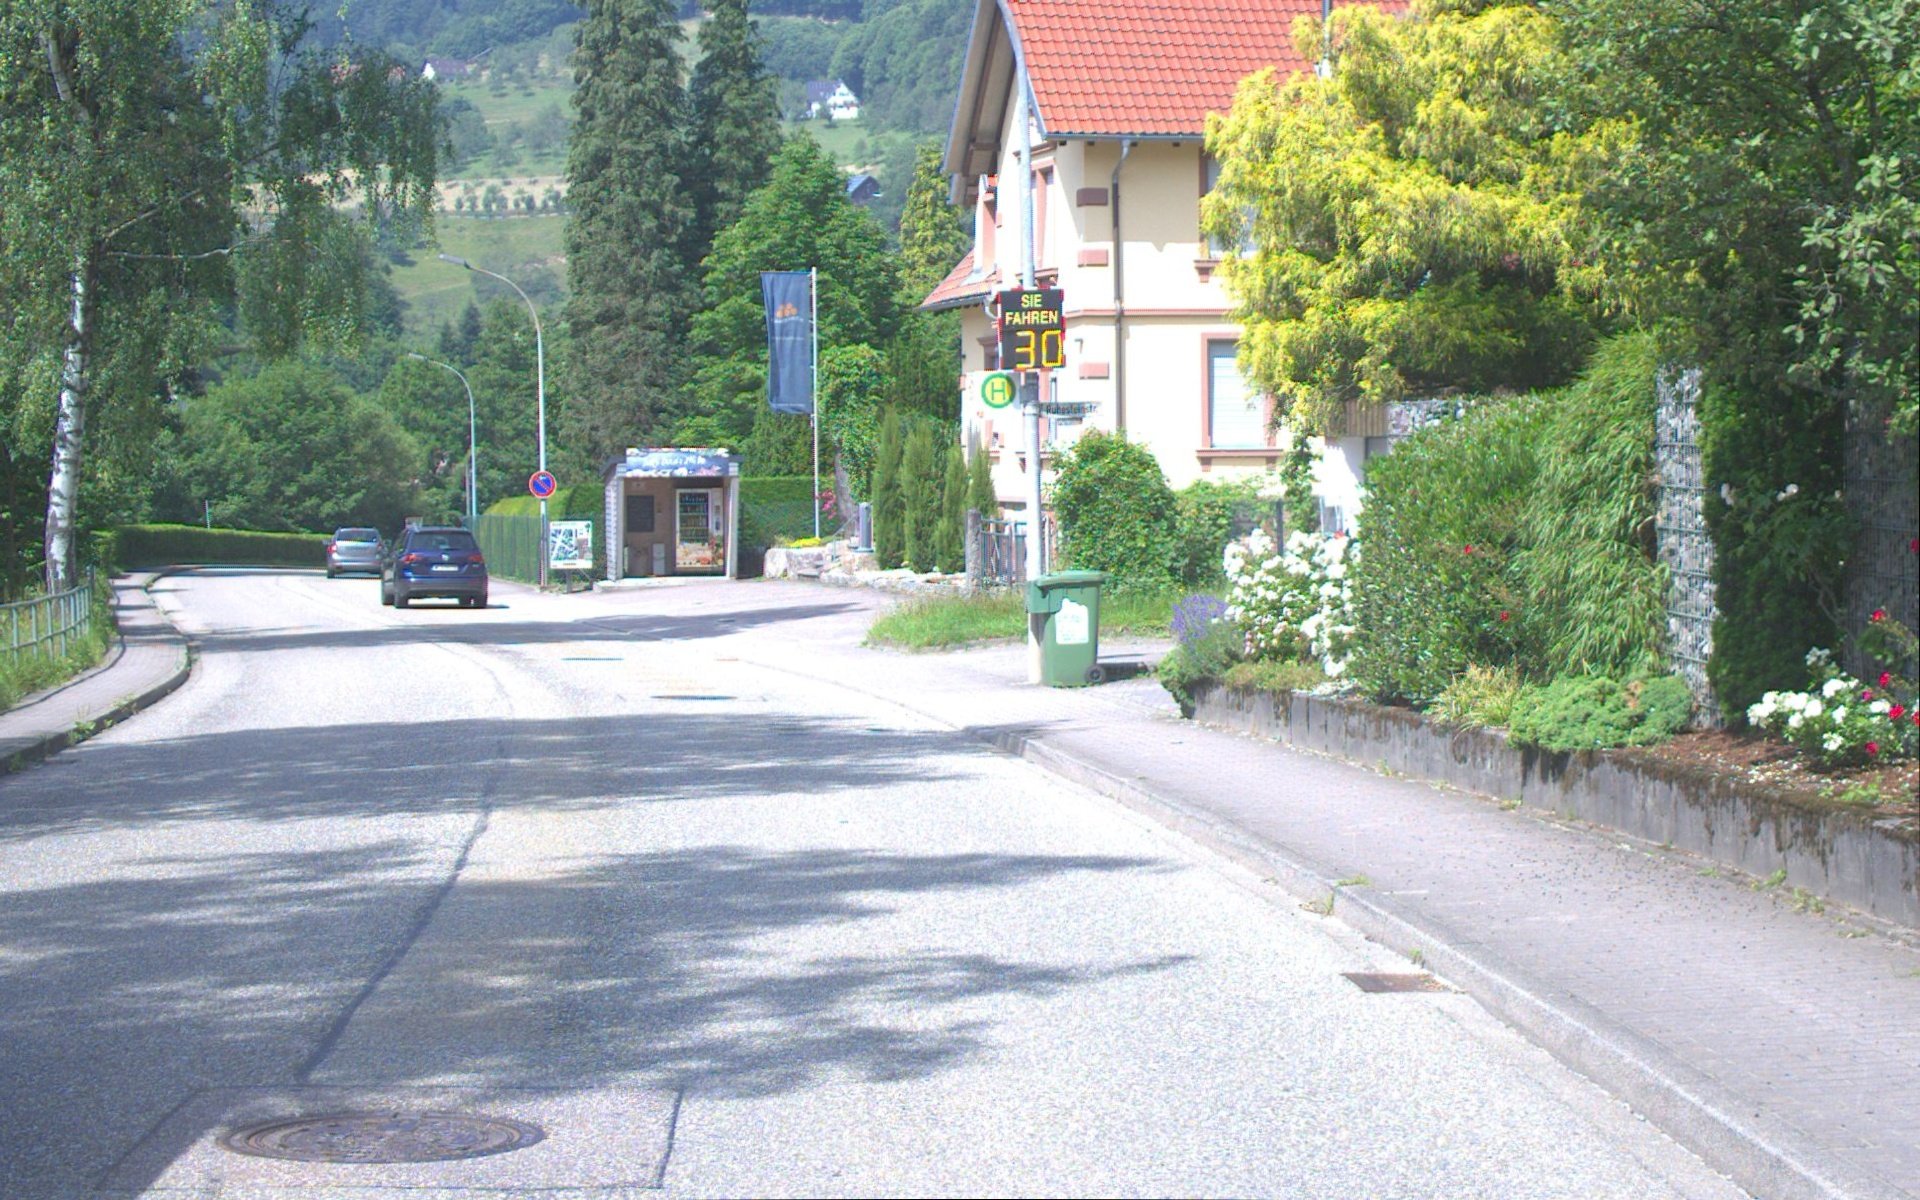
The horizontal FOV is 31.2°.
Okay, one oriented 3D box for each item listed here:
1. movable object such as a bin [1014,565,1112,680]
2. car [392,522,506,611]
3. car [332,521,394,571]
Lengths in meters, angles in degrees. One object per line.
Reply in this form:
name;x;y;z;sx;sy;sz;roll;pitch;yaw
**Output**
movable object such as a bin;0.959;0.208;32.129;0.809;1.039;0.579;-1;2;-8
car;-10.337;-0.688;69.359;1.919;1.692;3.789;-1;1;-13
car;-17.401;-1.573;100.297;1.628;1.417;3.399;0;1;-8
